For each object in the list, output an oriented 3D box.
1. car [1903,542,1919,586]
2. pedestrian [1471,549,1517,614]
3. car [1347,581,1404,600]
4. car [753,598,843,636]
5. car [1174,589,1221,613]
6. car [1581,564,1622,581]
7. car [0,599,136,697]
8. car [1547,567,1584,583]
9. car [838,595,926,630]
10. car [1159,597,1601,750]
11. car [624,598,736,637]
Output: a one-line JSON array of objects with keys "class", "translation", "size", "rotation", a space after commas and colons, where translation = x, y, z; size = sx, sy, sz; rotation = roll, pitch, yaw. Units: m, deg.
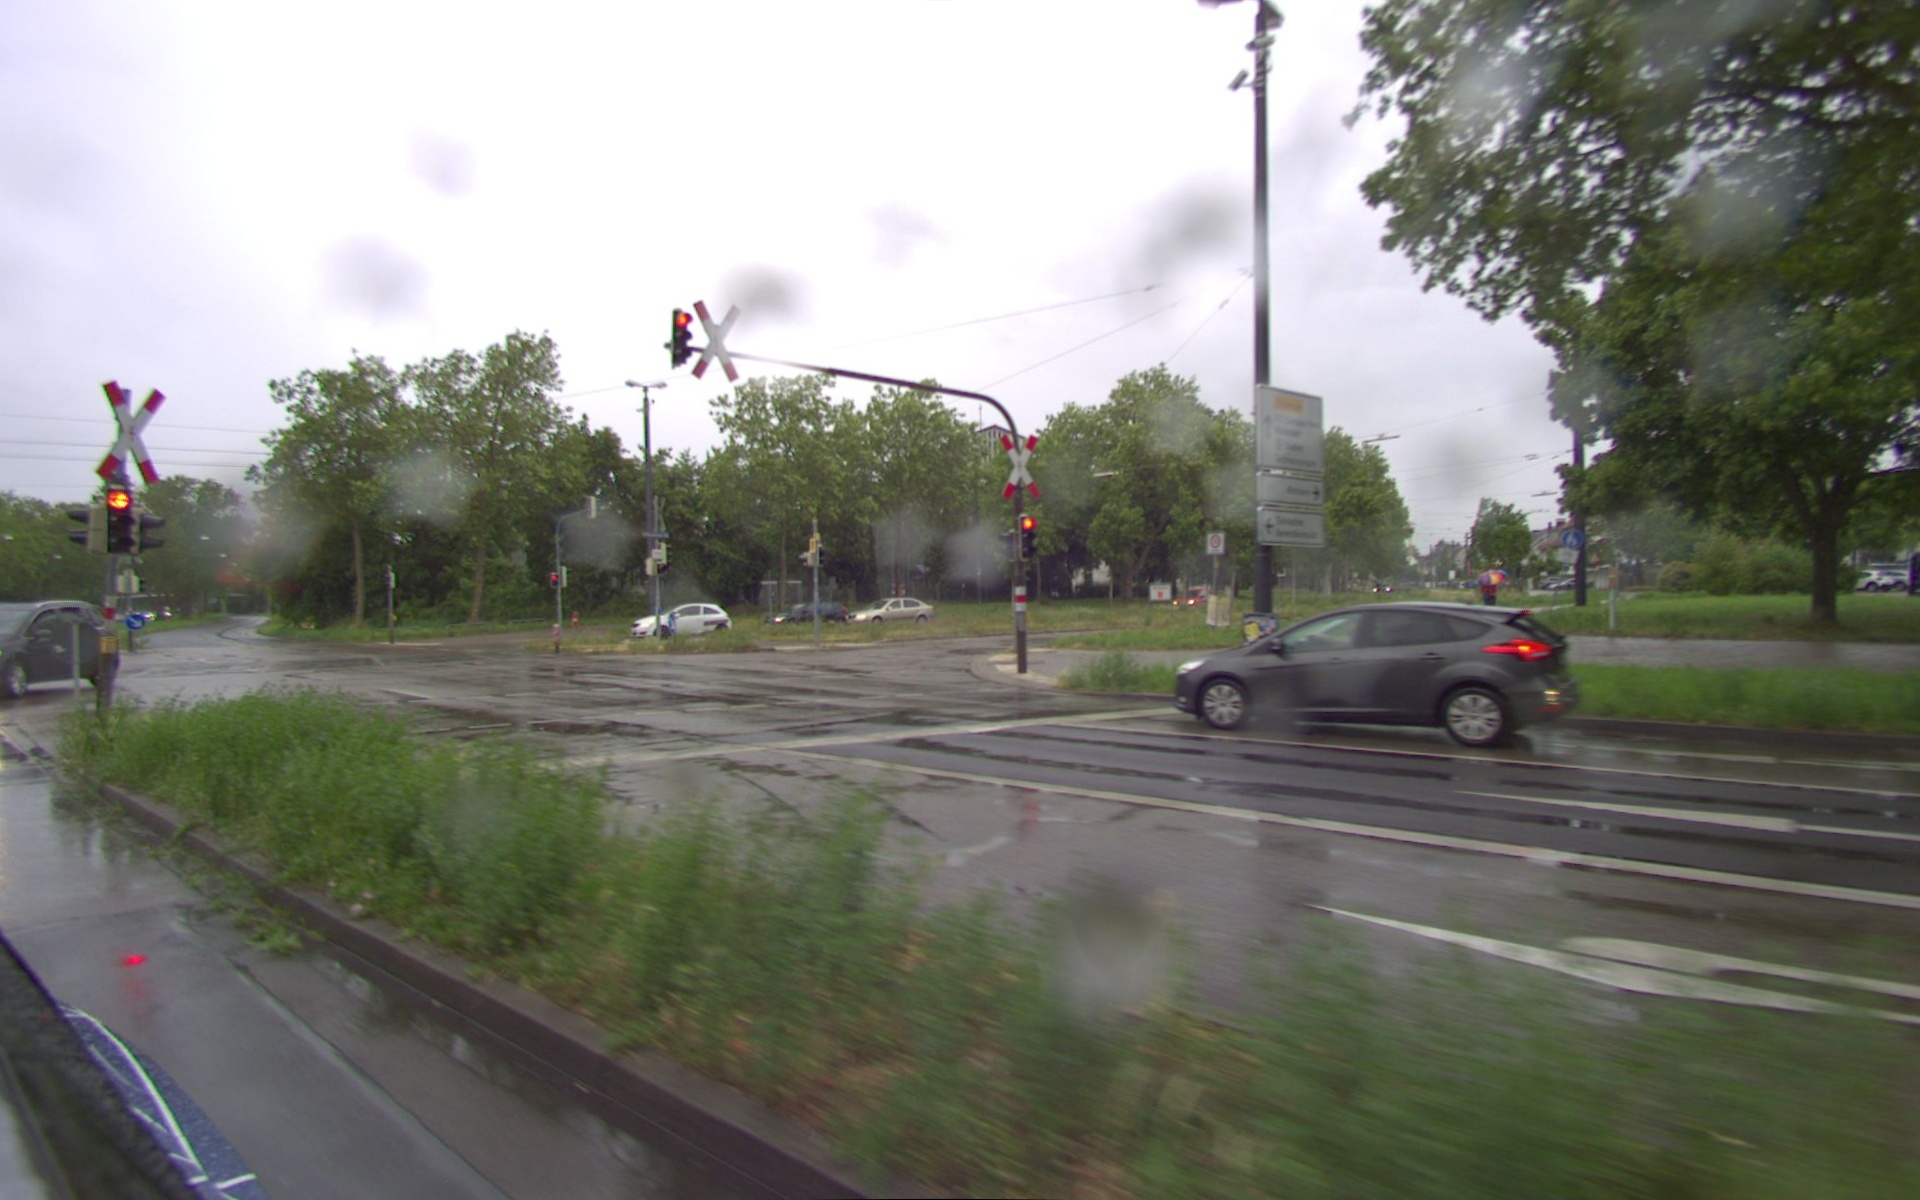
[{"class": "car", "translation": [46.919, -1.786, 46.876], "size": [5.031, 2.029, 2.319], "rotation": [-2, -1, -15]}, {"class": "pedestrian", "translation": [16.956, -0.578, 32.123], "size": [0.993, 2.005, 0.955], "rotation": [-2, -1, -43]}, {"class": "car", "translation": [34.592, -0.797, 84.362], "size": [4.043, 1.431, 1.653], "rotation": [-3, -1, 41]}, {"class": "car", "translation": [-7.627, 0.804, 47.768], "size": [3.750, 1.630, 1.876], "rotation": [-2, -1, -42]}, {"class": "car", "translation": [15.130, 0.033, 64.367], "size": [1.783, 1.391, 3.824], "rotation": [-3, 0, 31]}, {"class": "car", "translation": [82.209, -3.501, 129.682], "size": [3.965, 1.815, 1.882], "rotation": [-3, -1, 17]}, {"class": "car", "translation": [-17.102, 0.852, 18.085], "size": [1.837, 1.613, 4.536], "rotation": [-2, 0, -13]}, {"class": "car", "translation": [80.965, -3.315, 135.317], "size": [3.851, 1.815, 1.808], "rotation": [-3, -1, 18]}, {"class": "car", "translation": [-3.555, 0.567, 46.350], "size": [1.790, 1.414, 3.739], "rotation": [-3, -1, 44]}, {"class": "car", "translation": [4.591, 0.697, 11.330], "size": [4.304, 1.412, 1.783], "rotation": [0, -1, 35]}, {"class": "car", "translation": [-11.170, 0.681, 40.485], "size": [3.934, 1.373, 1.793], "rotation": [-2, -1, -39]}]
